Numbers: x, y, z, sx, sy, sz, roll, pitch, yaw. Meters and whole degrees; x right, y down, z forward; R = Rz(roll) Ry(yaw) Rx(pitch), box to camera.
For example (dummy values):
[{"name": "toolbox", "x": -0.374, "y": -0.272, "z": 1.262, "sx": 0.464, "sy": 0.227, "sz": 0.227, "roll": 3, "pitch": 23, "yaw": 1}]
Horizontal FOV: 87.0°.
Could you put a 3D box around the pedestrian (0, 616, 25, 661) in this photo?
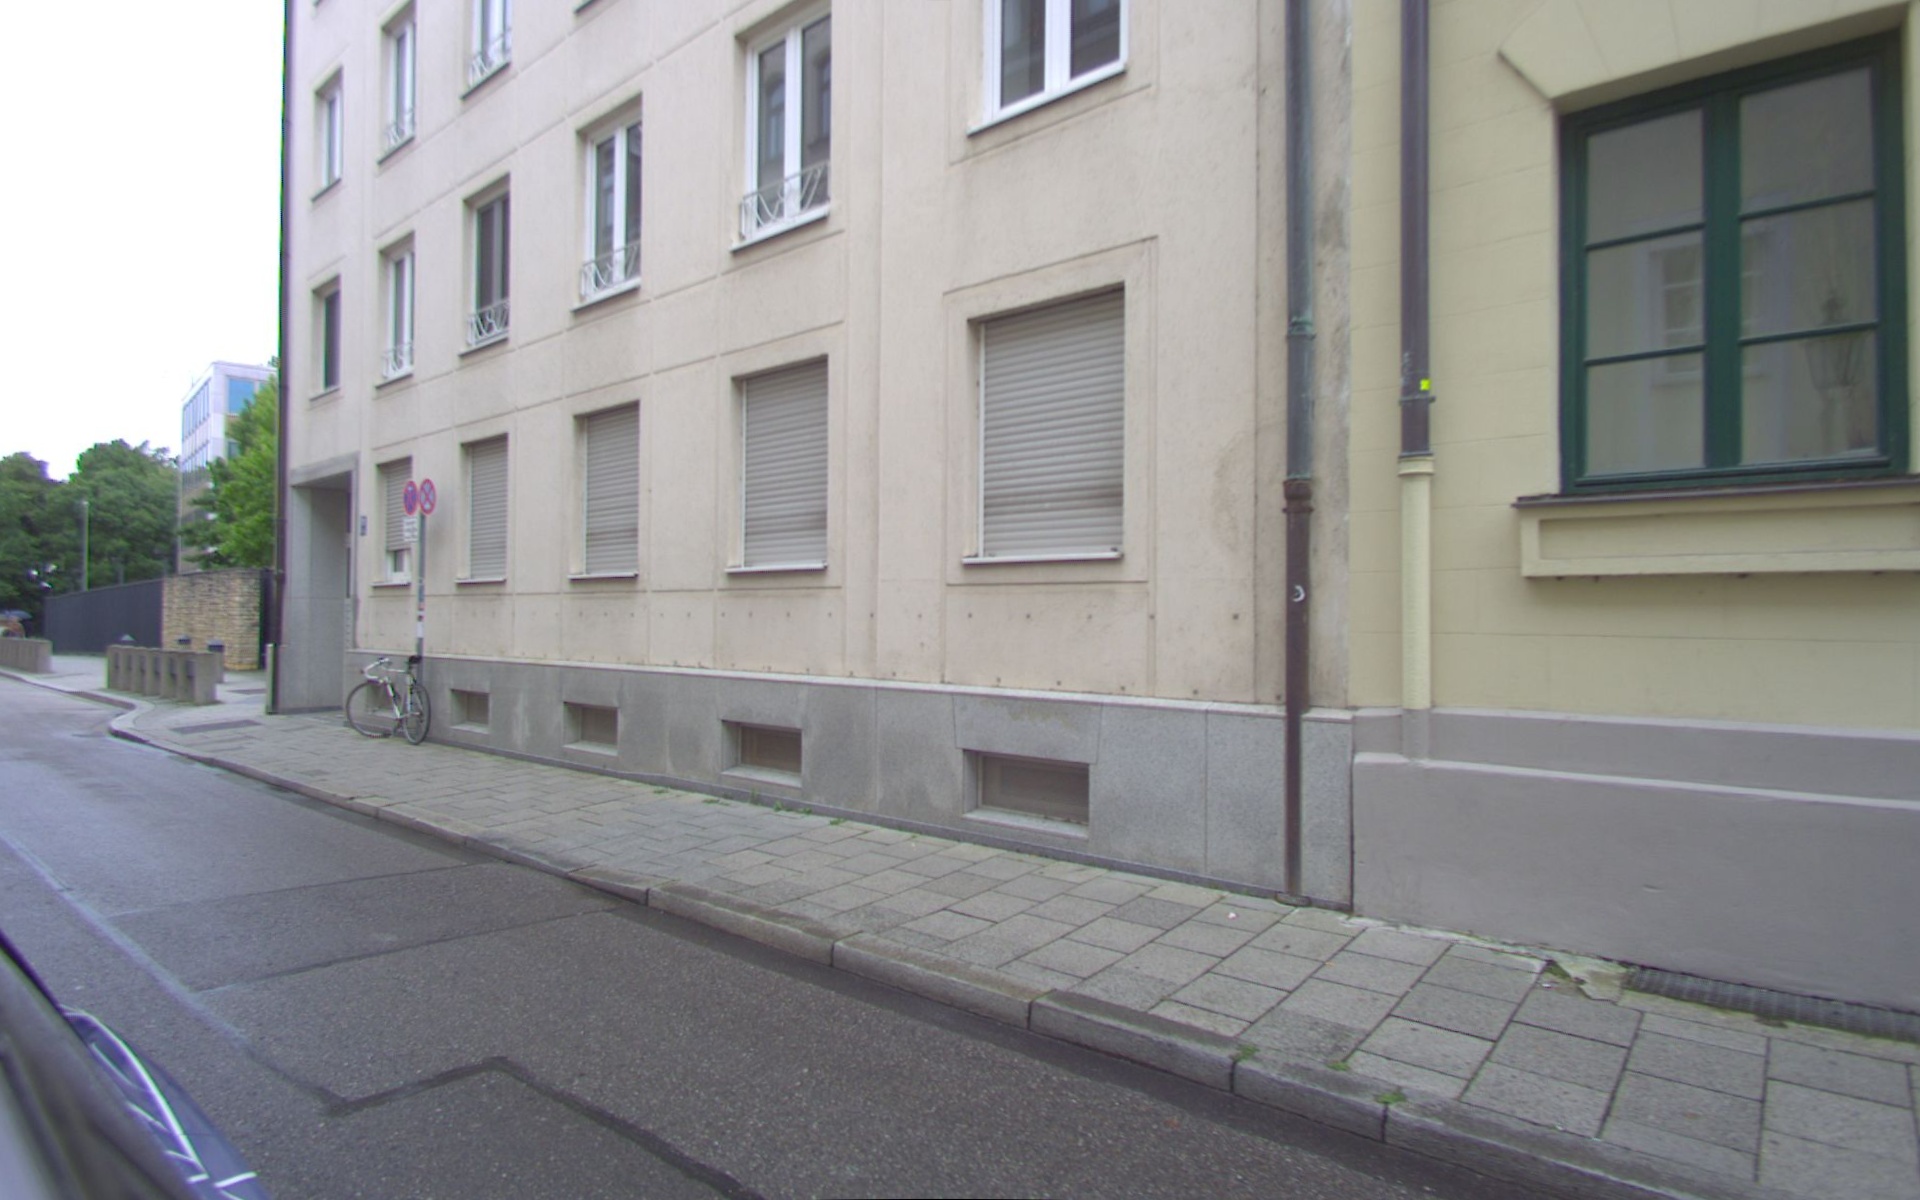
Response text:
[{"name": "pedestrian", "x": -37.933, "y": 1.525, "z": 40.434, "sx": 0.814, "sy": 1.736, "sz": 0.906, "roll": -1, "pitch": -1, "yaw": -45}]

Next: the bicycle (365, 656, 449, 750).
[{"name": "bicycle", "x": -6.318, "y": 1.142, "z": 11.526, "sx": 1.573, "sy": 0.951, "sz": 0.316, "roll": -1, "pitch": 1, "yaw": 42}]

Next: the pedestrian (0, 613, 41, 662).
[{"name": "pedestrian", "x": -41.104, "y": 1.636, "z": 44.259, "sx": 1.116, "sy": 2.120, "sz": 1.210, "roll": -3, "pitch": -3, "yaw": 42}]
